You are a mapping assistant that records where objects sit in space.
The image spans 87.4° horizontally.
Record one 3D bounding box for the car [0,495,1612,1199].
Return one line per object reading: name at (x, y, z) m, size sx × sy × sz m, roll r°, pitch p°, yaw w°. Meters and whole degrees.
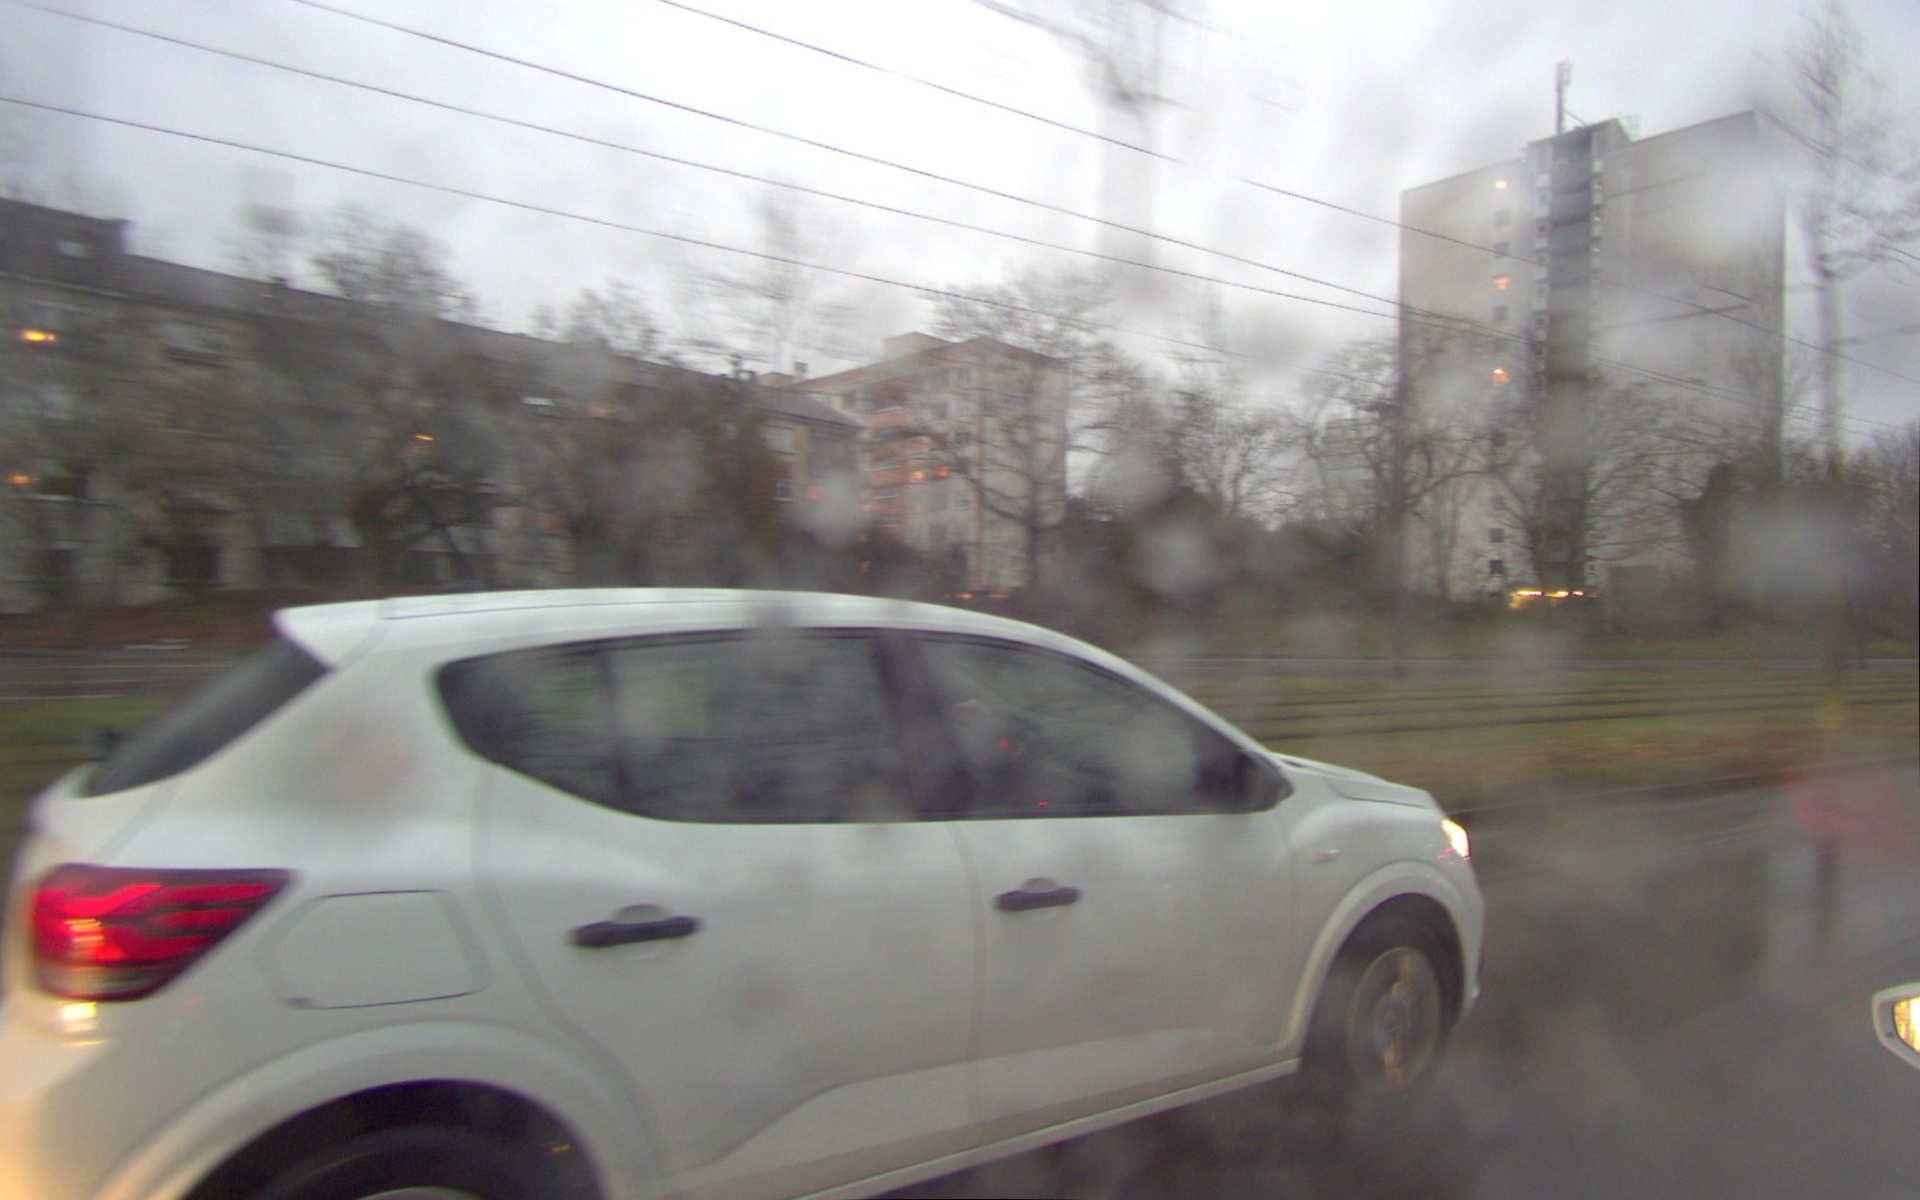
car at (-0.138, 0.671, 2.962) m, size 4.083 × 1.545 × 1.702 m, roll 1°, pitch -1°, yaw -28°
